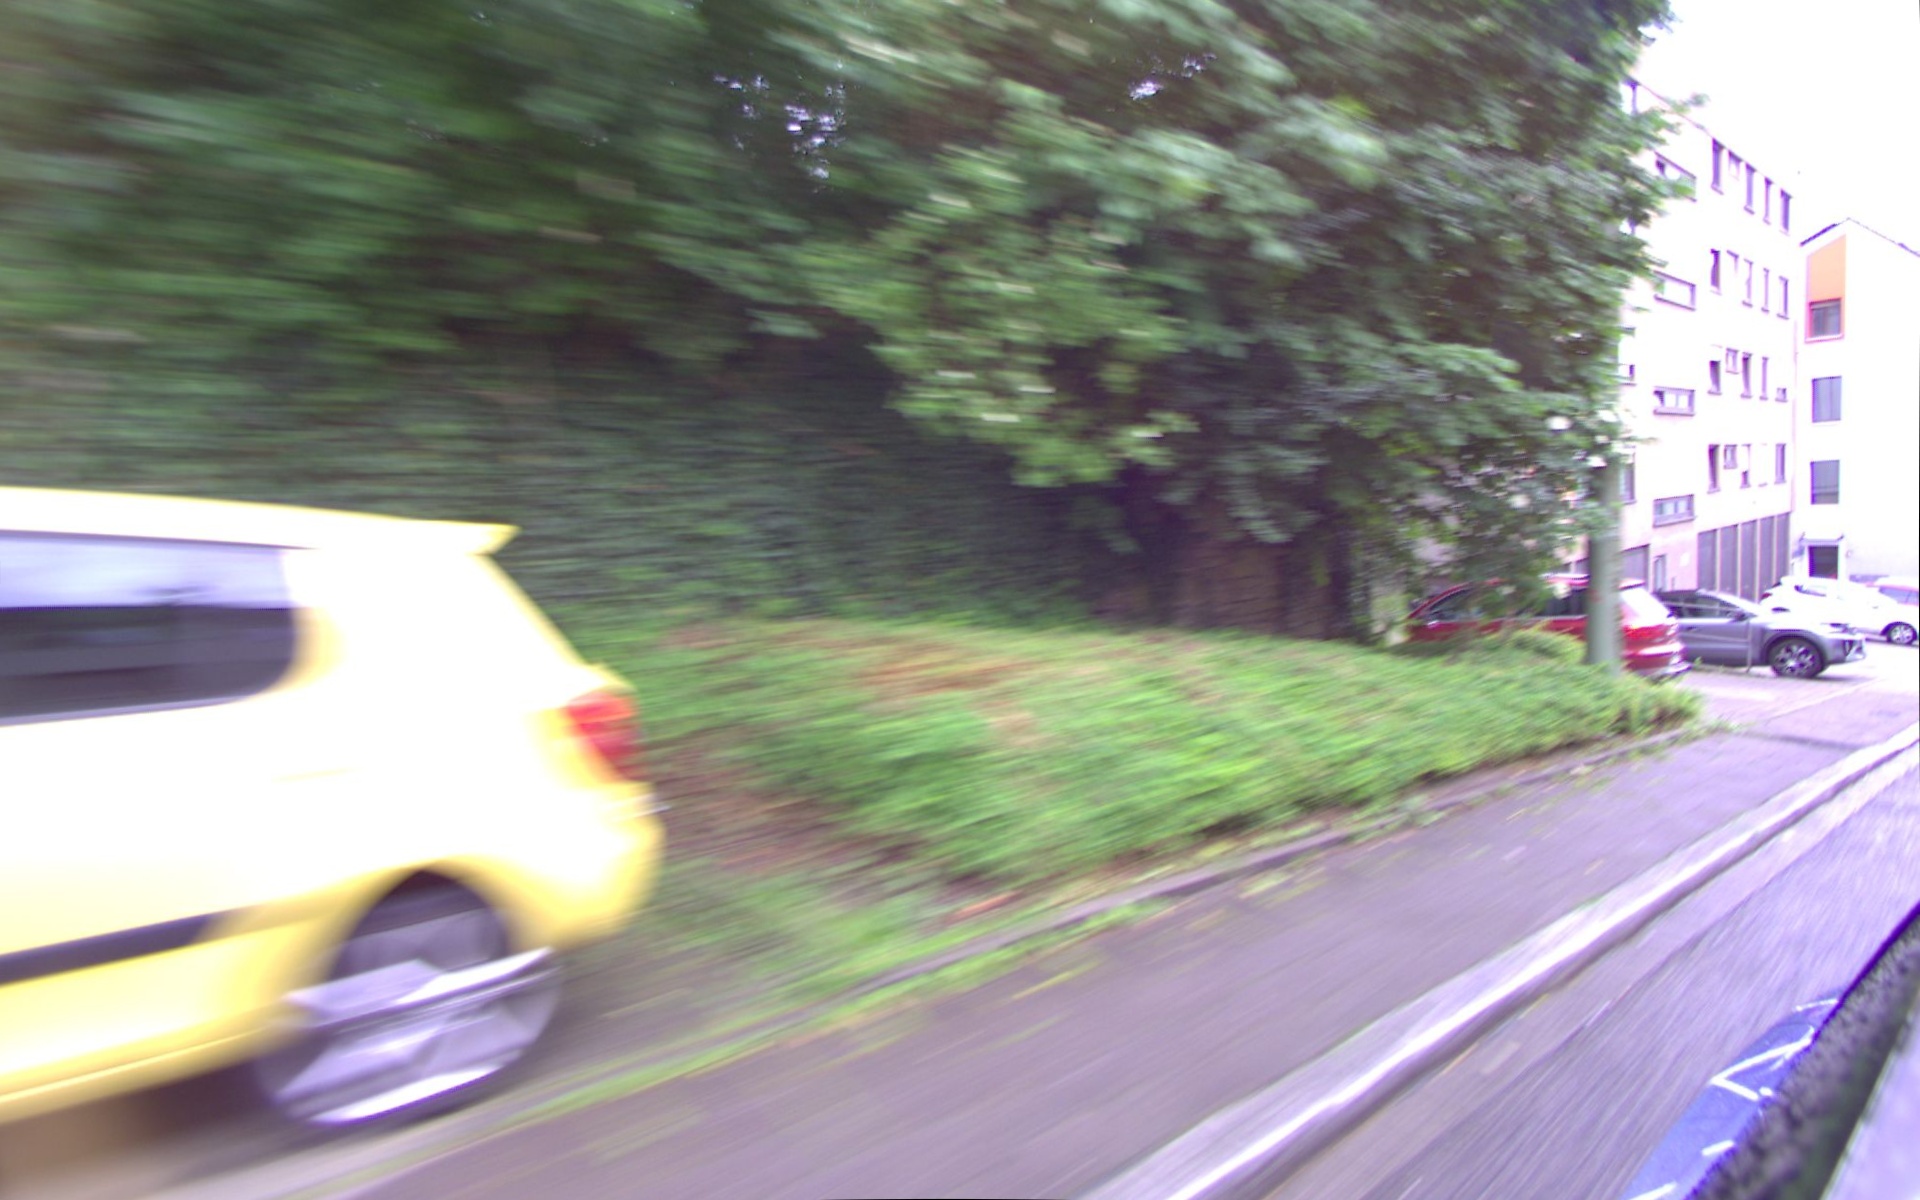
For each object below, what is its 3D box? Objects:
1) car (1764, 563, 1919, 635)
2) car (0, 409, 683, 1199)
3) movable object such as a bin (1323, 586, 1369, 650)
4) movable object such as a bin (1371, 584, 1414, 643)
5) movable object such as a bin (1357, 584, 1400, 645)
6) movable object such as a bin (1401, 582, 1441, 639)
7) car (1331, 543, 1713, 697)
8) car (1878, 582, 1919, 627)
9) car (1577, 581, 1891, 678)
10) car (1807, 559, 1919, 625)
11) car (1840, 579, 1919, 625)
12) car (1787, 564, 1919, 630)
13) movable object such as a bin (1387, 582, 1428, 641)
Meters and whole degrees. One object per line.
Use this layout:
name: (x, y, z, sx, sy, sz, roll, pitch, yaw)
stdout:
car: (24.460, -0.024, 27.348, 1.664, 1.547, 3.970, -1, 8, -43)
car: (-2.793, 0.405, 2.190, 3.929, 1.549, 1.636, 0, 1, -40)
movable object such as a bin: (6.749, 0.310, 17.697, 0.593, 1.074, 0.508, -3, 2, -40)
movable object such as a bin: (8.080, 0.240, 18.896, 0.593, 1.074, 0.508, -3, 2, -40)
movable object such as a bin: (7.645, 0.249, 18.480, 0.593, 1.074, 0.508, -3, 2, -40)
movable object such as a bin: (8.971, 0.190, 19.693, 0.593, 1.074, 0.508, -3, 2, -40)
car: (7.437, 0.250, 13.720, 1.731, 1.757, 4.200, 0, -1, -44)
car: (35.513, 0.222, 36.185, 1.631, 1.569, 3.810, 0, 3, -41)
car: (13.644, 0.482, 18.044, 1.730, 1.515, 4.203, 0, -1, -42)
car: (29.771, -0.206, 32.291, 1.698, 1.721, 3.838, 0, 8, -41)
car: (32.906, 0.098, 34.400, 1.861, 1.484, 4.276, 0, 2, -41)
car: (28.129, -0.031, 30.680, 1.844, 1.546, 4.356, 0, 9, -41)
movable object such as a bin: (8.532, 0.205, 19.286, 0.593, 1.074, 0.508, -3, 2, -40)
